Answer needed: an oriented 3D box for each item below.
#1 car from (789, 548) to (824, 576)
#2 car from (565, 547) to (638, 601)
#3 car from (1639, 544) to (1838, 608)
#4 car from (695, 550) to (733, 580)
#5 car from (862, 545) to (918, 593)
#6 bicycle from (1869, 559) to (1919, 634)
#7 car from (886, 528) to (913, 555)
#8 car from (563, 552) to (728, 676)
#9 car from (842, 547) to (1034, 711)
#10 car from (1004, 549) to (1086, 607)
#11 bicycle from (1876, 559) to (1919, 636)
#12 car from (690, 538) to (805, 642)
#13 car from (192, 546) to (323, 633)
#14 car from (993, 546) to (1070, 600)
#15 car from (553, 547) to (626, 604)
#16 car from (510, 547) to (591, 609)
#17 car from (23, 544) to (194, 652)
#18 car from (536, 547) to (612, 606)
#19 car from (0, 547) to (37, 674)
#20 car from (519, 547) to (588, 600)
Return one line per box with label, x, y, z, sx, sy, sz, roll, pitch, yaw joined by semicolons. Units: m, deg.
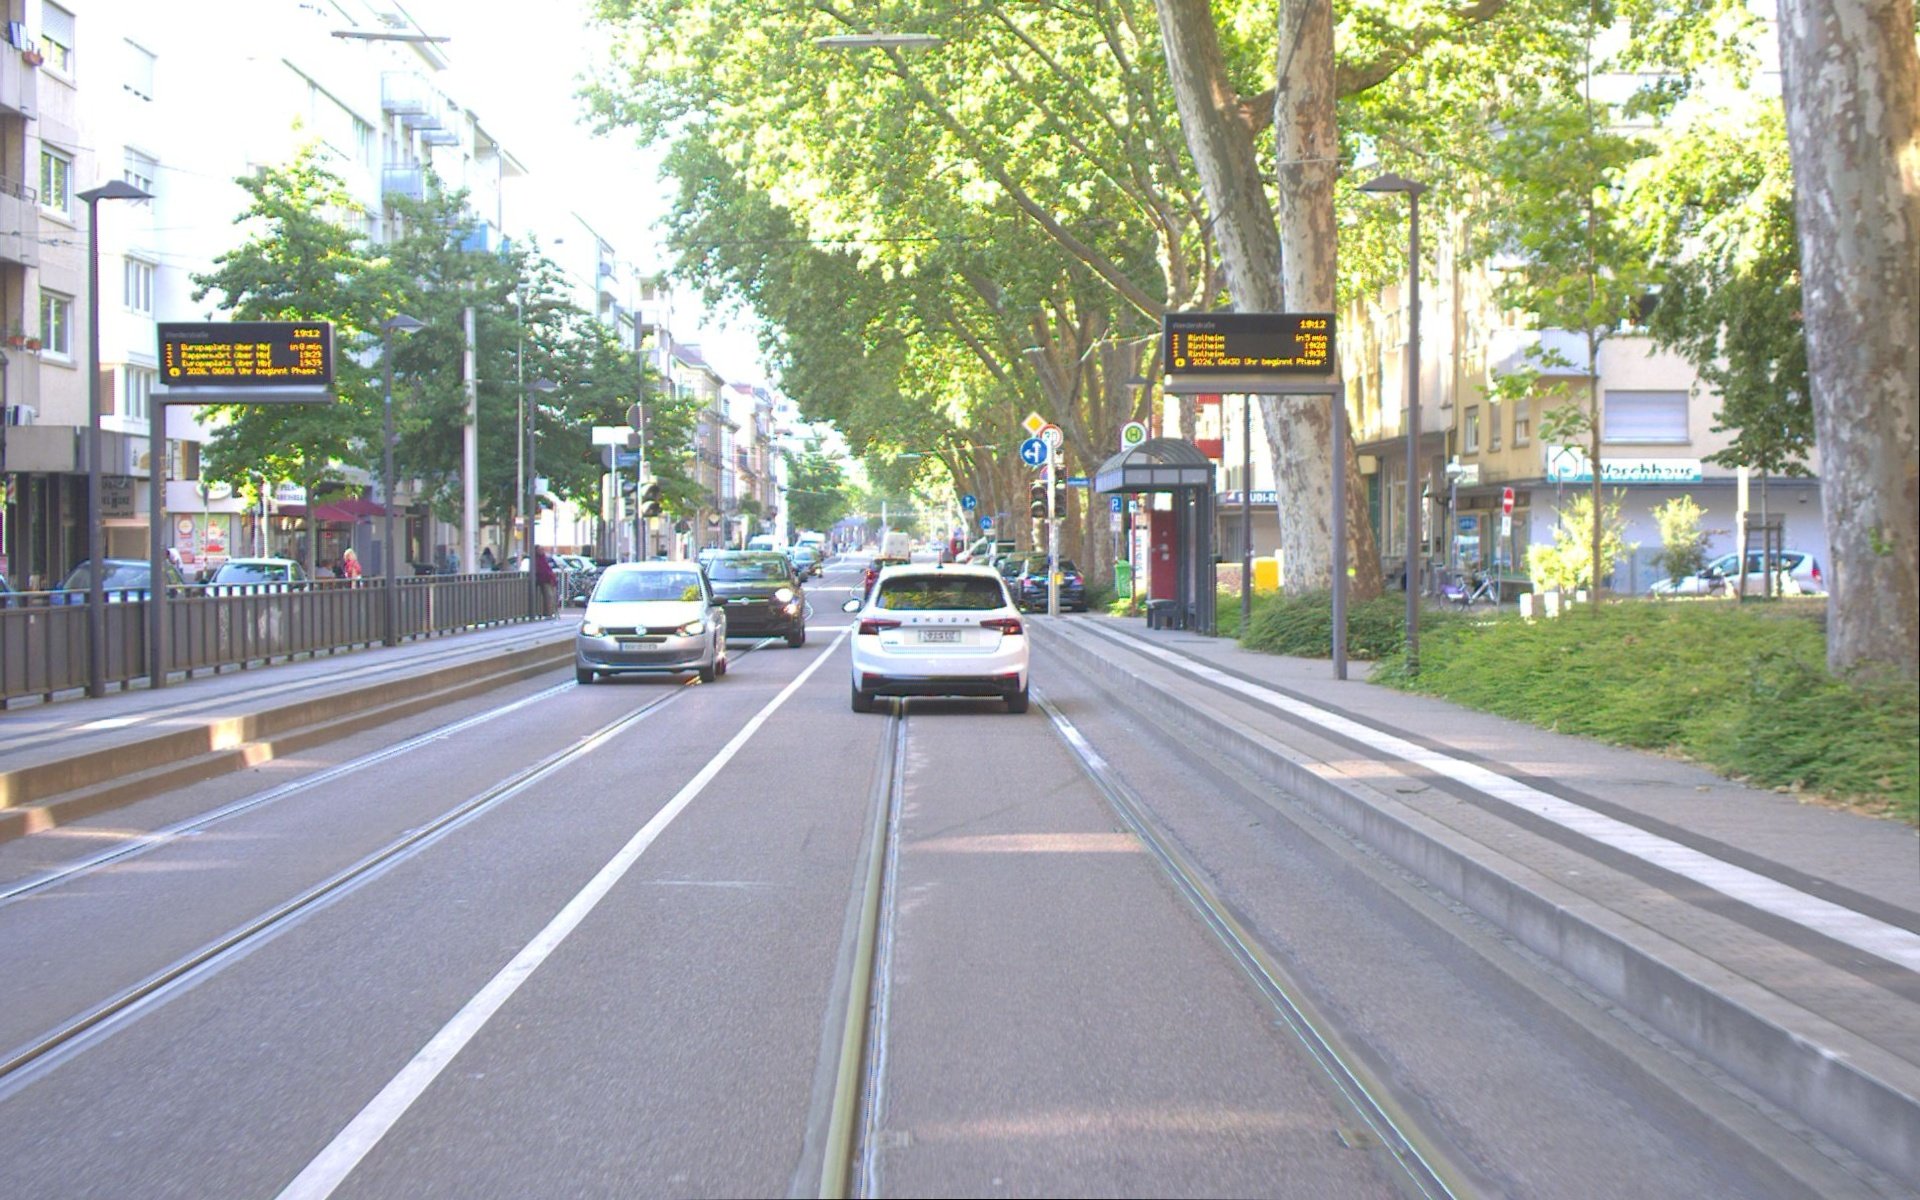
car;-8.461;-2.088;189.466;1.788;1.508;4.000;0;1;-1
car;-10.769;-0.792;103.571;1.794;1.505;4.000;2;1;-1
car;17.147;-0.541;75.885;3.987;1.368;1.867;0;1;2
car;-13.122;-1.875;183.284;1.788;1.508;4.000;0;1;-1
car;-2.242;-1.009;110.917;1.788;1.508;4.000;0;1;-1
bicycle;13.413;-0.052;47.556;1.567;1.034;0.504;0;1;21
car;-4.246;-4.084;240.753;1.866;1.886;4.000;0;1;-1
car;-3.810;0.135;42.171;1.693;1.414;4.000;0;1;-1
car;-0.235;0.244;34.153;1.788;1.508;4.000;0;1;-1
car;2.192;-0.590;89.579;1.993;1.448;4.000;0;1;-1
bicycle;13.257;-0.039;46.640;1.567;1.034;0.479;0;1;21
car;-3.488;-0.193;56.950;1.693;1.638;4.000;0;1;-1
car;-13.316;-0.226;65.342;1.678;1.543;4.000;2;1;-1
car;1.944;-0.764;94.663;1.993;1.448;4.000;0;1;-1
car;-10.695;-0.732;99.398;1.678;1.543;4.000;2;1;-1
car;-10.797;-0.605;90.886;1.678;1.543;4.000;2;1;-1
car;-13.145;-0.059;53.279;1.678;1.543;4.000;2;1;-1
car;-10.662;-0.671;95.204;1.678;1.543;4.000;2;1;-1
car;-12.590;0.117;41.920;1.593;1.543;4.000;2;1;-1
car;-12.650;-0.847;107.143;1.678;1.543;4.000;2;1;-1
